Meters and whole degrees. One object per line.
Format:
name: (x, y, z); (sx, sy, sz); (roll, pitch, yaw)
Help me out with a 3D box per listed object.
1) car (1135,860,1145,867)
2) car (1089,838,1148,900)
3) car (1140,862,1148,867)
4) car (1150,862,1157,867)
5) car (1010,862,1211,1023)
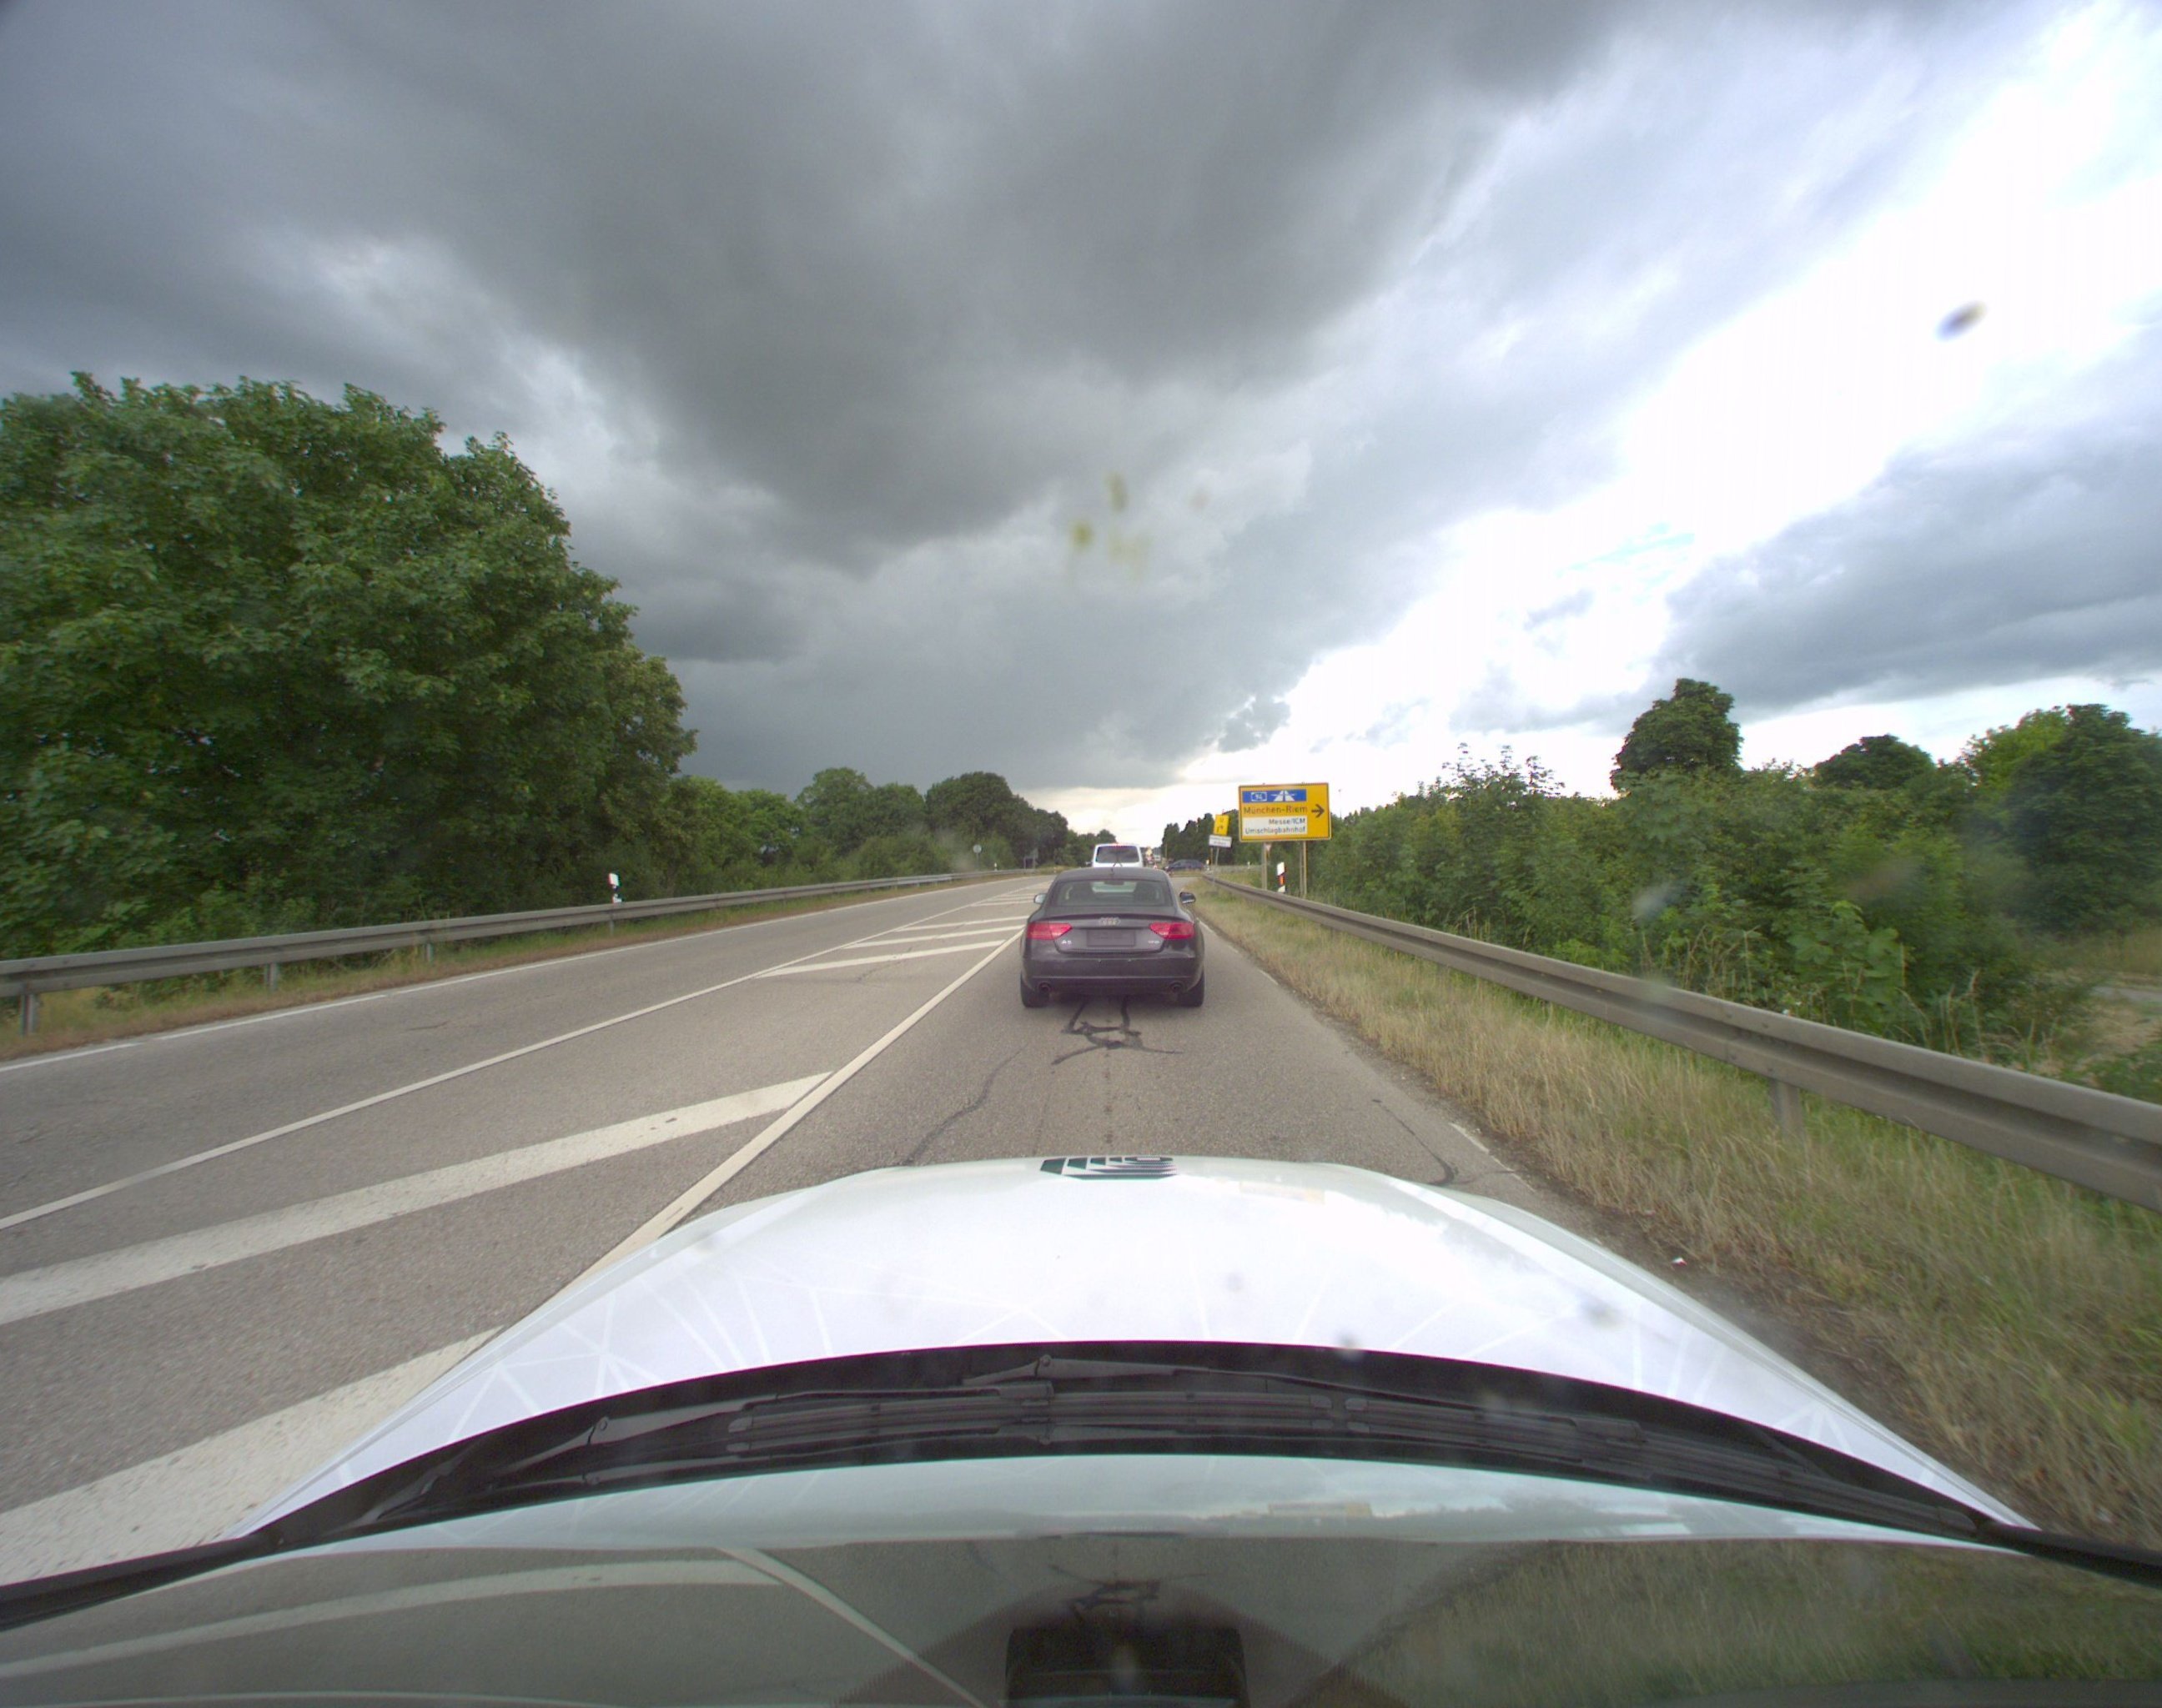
car: (14.317, 2.296, 198.277); (2.197, 1.582, 4.381); (0, 0, 2)
car: (1.286, 0.488, 28.555); (1.903, 2.013, 4.002); (0, 0, 2)
car: (16.867, 2.809, 218.152); (1.728, 1.454, 4.001); (0, 0, 1)
car: (22.911, 3.346, 257.291); (1.984, 1.692, 4.005); (0, 0, 5)
car: (0.315, 0.807, 8.921); (1.773, 1.399, 3.338); (-1, -1, 2)
